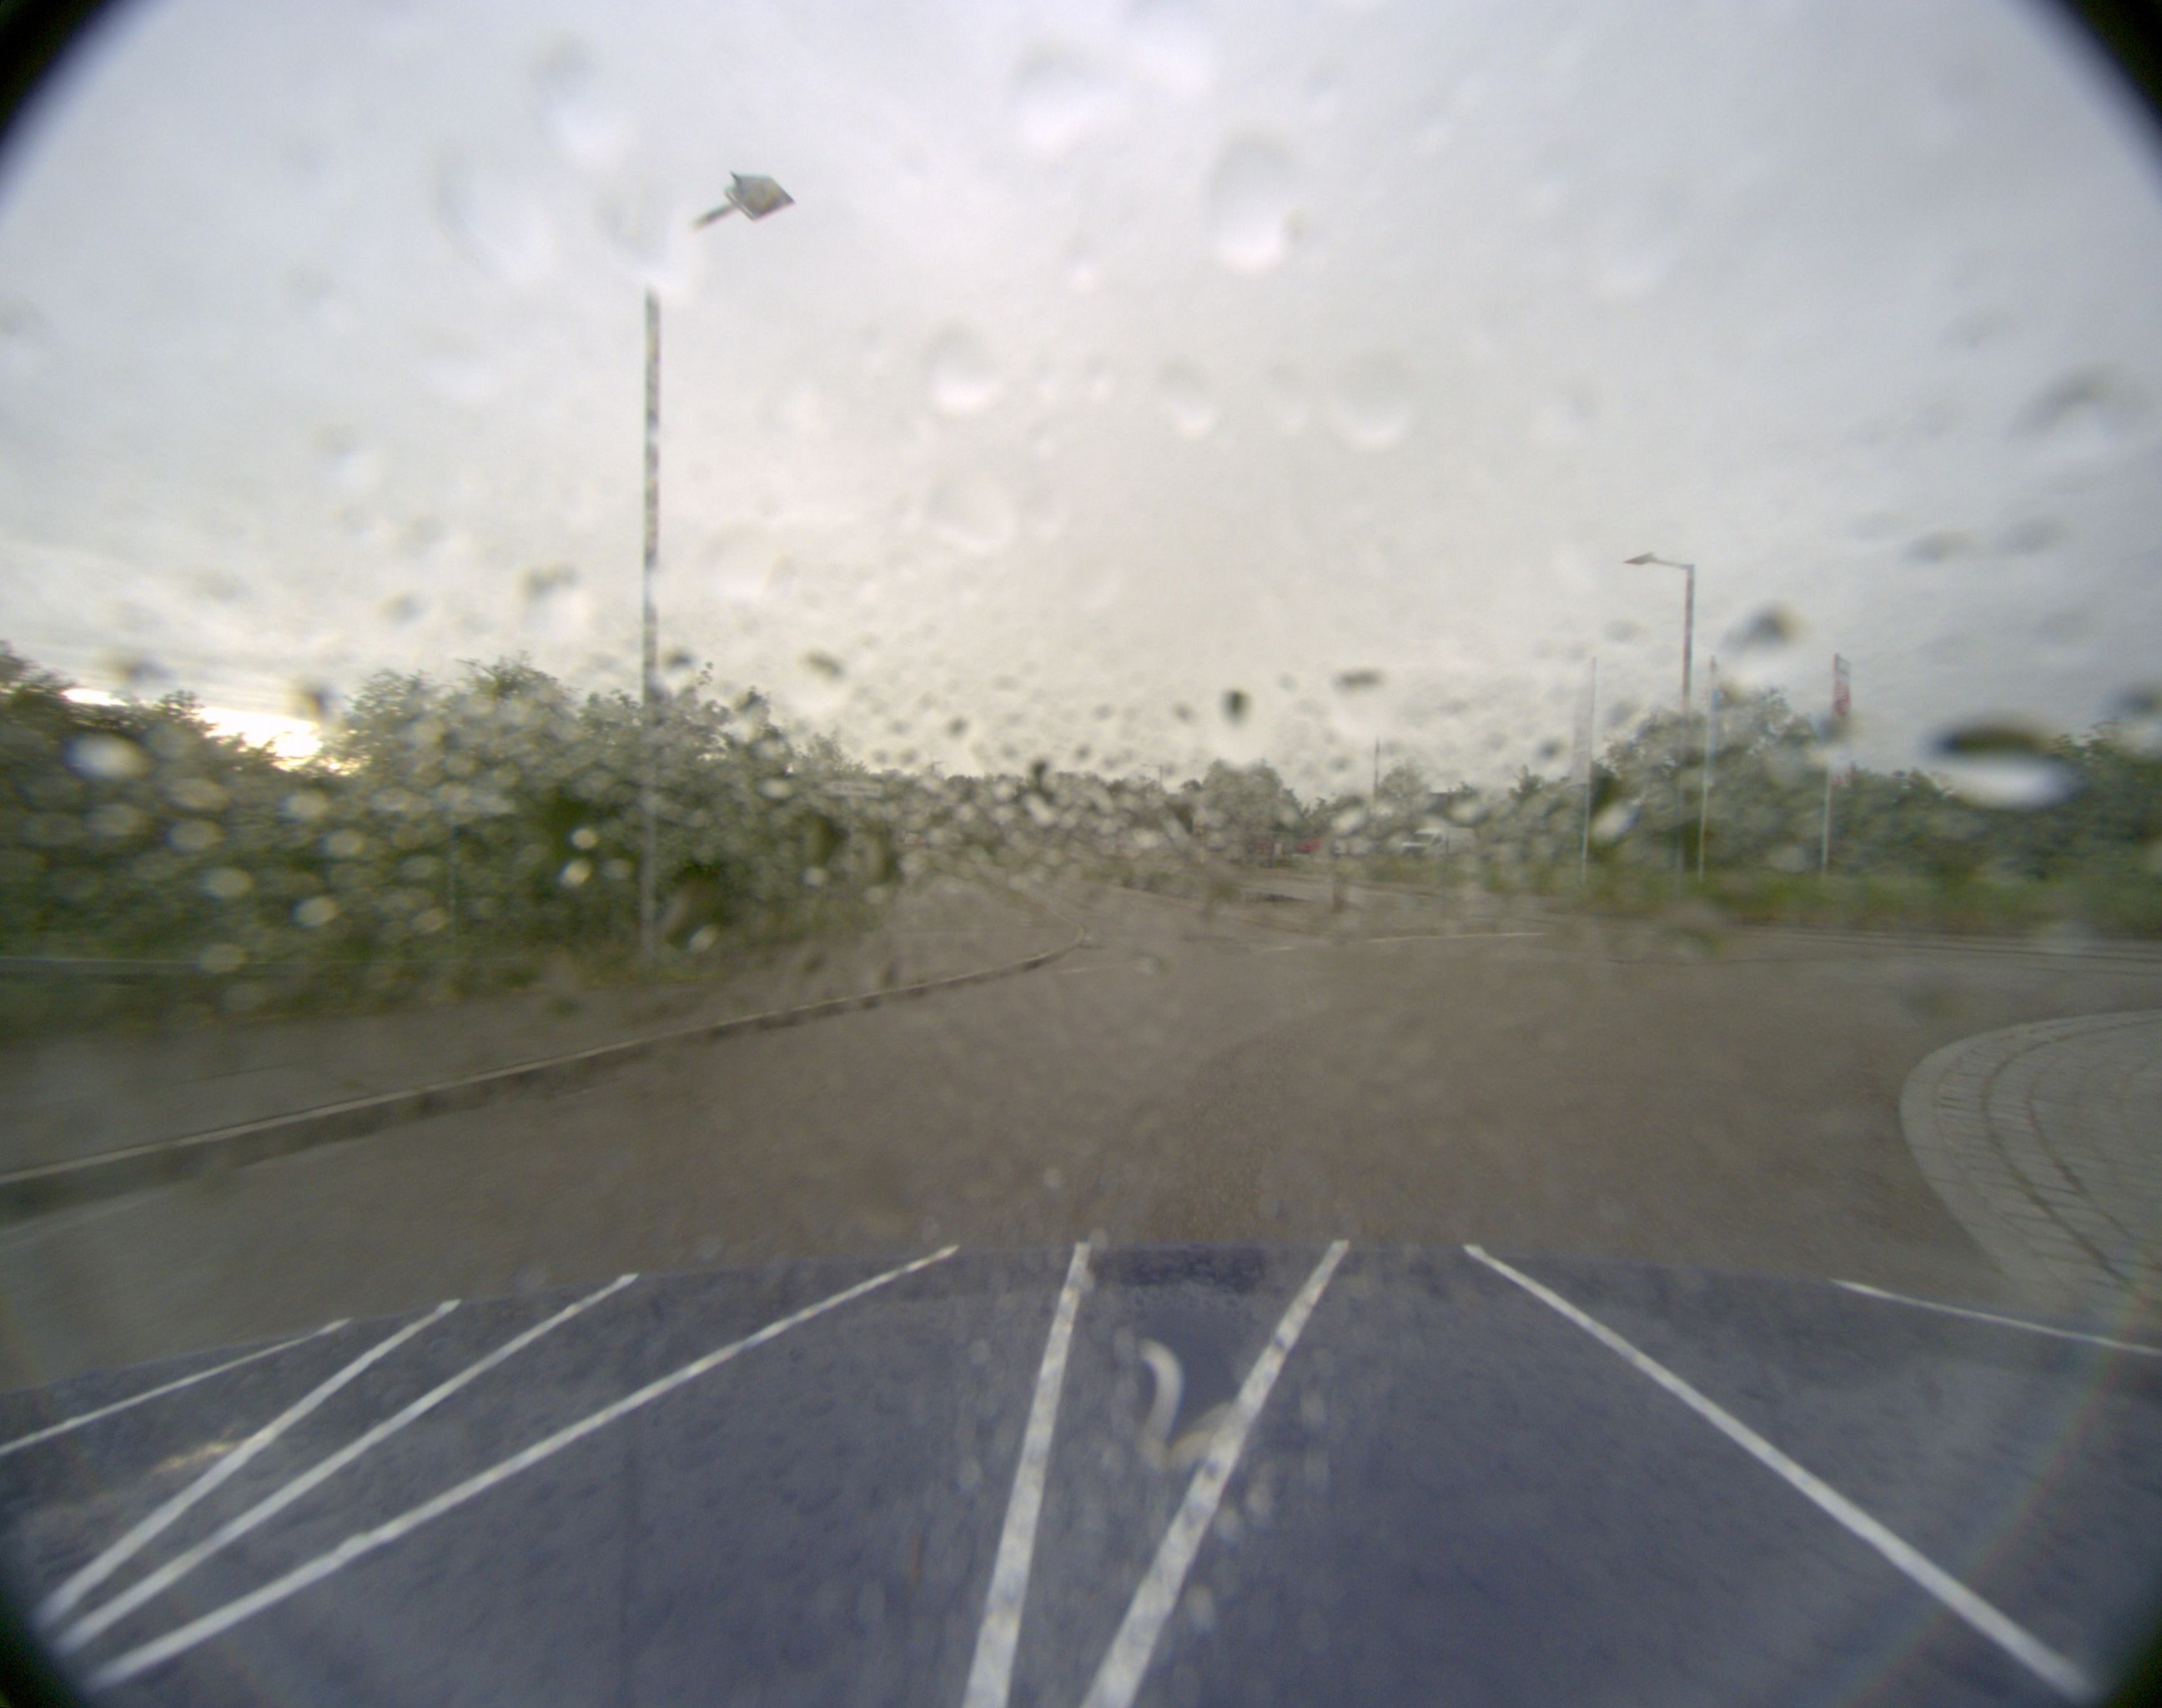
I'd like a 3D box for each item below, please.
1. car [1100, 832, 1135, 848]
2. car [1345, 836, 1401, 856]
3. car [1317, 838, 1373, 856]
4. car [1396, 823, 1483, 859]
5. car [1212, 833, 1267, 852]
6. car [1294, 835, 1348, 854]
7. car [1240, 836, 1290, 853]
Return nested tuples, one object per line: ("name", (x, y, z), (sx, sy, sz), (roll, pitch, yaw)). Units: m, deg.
("car", (3.897, -1.523, 81.926), (1.699, 1.560, 4.531), (-3, 2, -27))
("car", (22.168, -0.633, 57.697), (4.004, 1.356, 1.649), (-2, 3, -24))
("car", (20.800, -0.565, 59.843), (4.005, 1.356, 1.843), (1, 2, -24))
("car", (25.297, -0.944, 53.521), (6.587, 2.385, 2.133), (-1, 4, -30))
("car", (14.533, -1.085, 69.633), (4.728, 1.684, 2.000), (-1, 3, -27))
("car", (19.916, -0.787, 63.071), (4.006, 1.461, 1.843), (0, 2, -26))
("car", (16.355, -0.902, 67.487), (4.004, 1.356, 1.895), (-2, 3, -24))
